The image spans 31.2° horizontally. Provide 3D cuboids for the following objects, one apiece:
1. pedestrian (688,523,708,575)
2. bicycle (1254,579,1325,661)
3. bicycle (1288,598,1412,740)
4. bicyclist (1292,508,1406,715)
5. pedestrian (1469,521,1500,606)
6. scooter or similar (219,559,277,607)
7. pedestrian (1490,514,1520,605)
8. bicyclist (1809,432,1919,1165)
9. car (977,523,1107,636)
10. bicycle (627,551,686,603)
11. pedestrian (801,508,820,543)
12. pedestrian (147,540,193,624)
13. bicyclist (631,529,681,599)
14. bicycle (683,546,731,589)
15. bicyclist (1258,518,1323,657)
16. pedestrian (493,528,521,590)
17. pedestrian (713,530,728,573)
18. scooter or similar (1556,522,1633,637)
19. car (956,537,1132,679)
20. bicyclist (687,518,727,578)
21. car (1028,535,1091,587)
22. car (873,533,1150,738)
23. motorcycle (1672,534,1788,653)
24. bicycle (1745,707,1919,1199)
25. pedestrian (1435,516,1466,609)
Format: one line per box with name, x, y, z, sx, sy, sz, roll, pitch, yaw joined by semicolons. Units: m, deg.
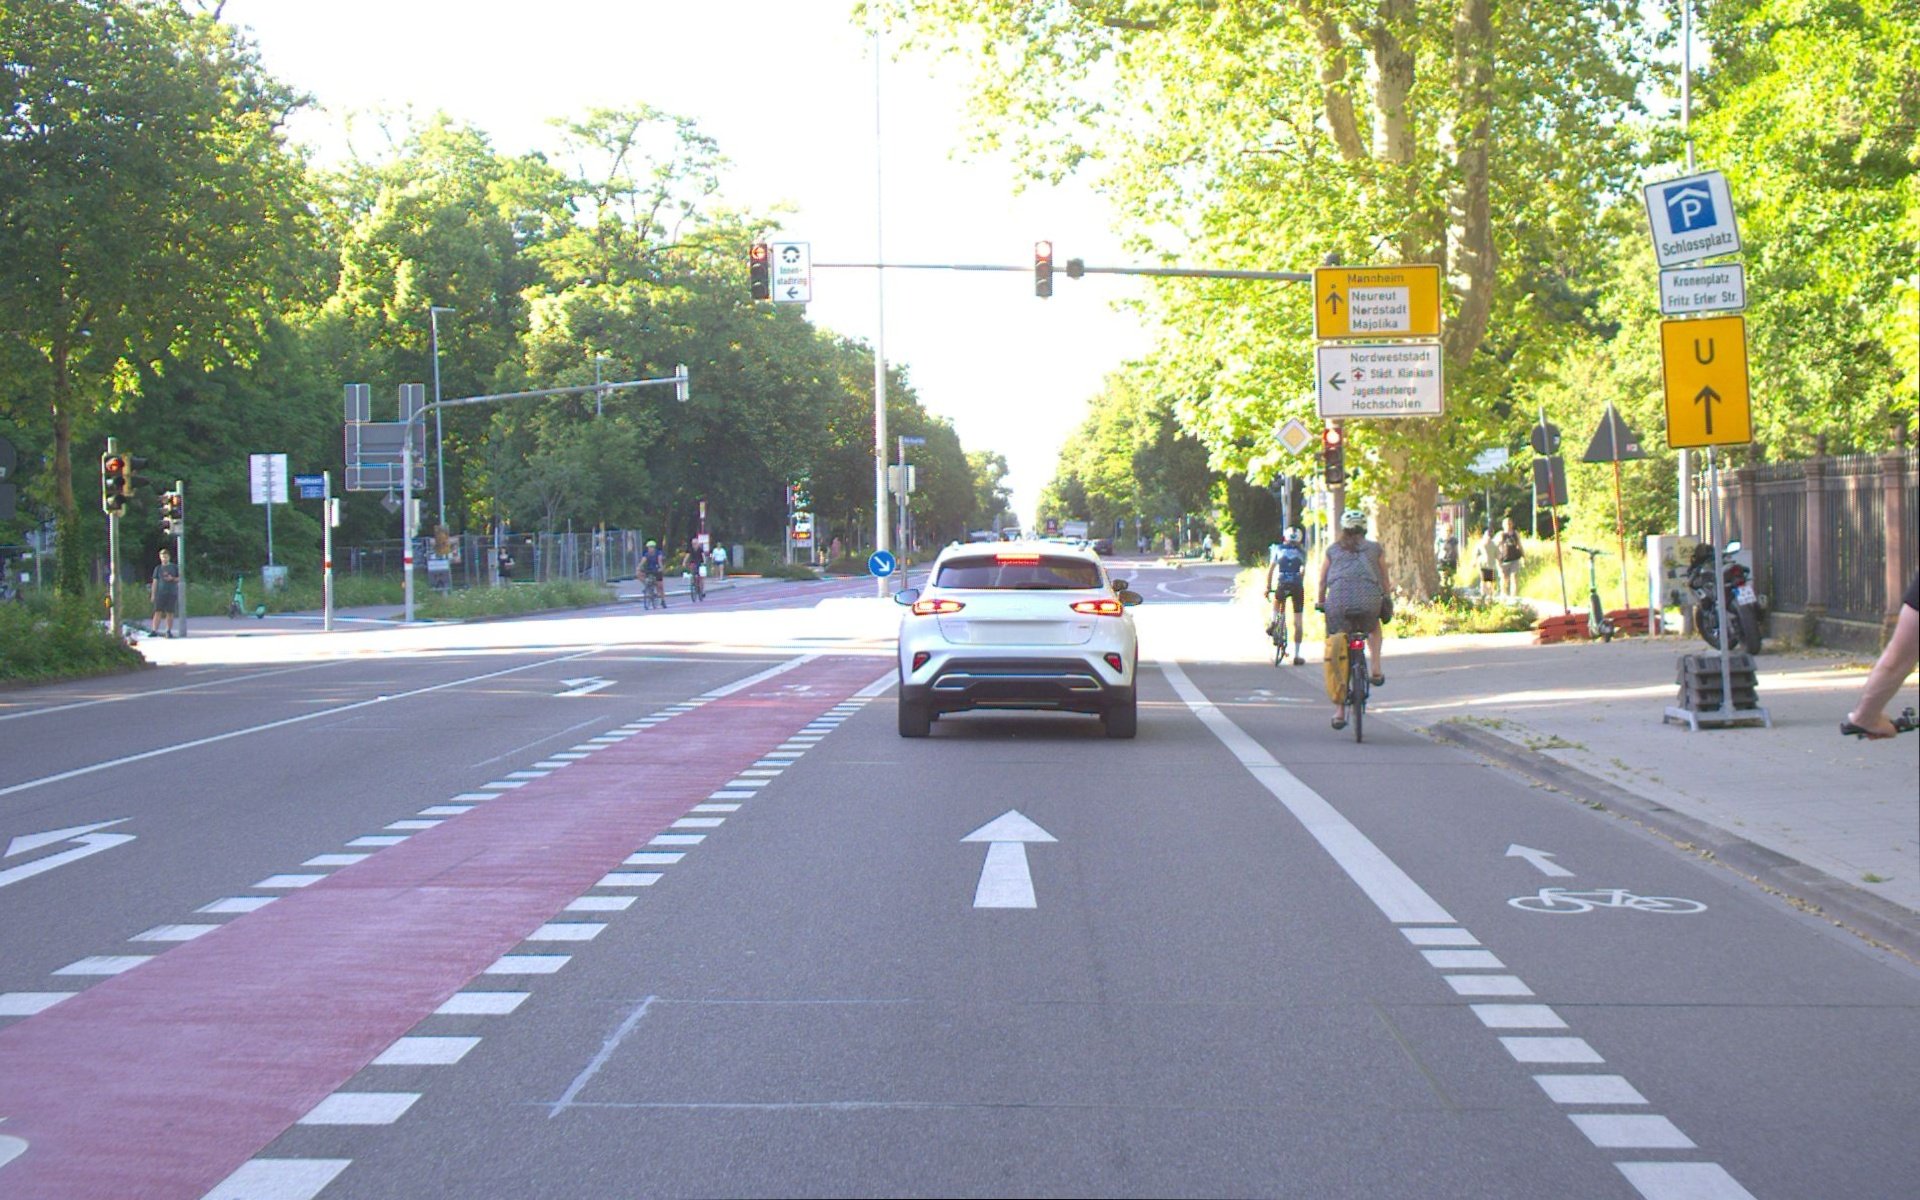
pedestrian;-10.148;-1.988;133.297;0.656;2.007;0.832;-2;1;-1
bicycle;4.190;0.240;43.761;0.753;1.022;1.869;0;0;1
bicycle;2.939;0.501;26.044;0.753;1.022;1.869;0;0;1
bicyclist;2.930;0.074;25.968;0.747;1.532;0.969;-1;1;1
pedestrian;10.451;-0.730;68.529;0.482;1.634;0.432;-4;4;8
scooter or similar;-17.568;-0.424;84.844;0.511;1.140;1.699;-1;1;23
pedestrian;10.946;-0.814;69.055;0.482;1.786;0.432;-4;4;8
bicyclist;2.429;0.428;7.939;0.636;1.609;1.284;0;1;1
car;1.225;-0.338;51.945;1.851;1.586;4.000;-2;1;1
bicycle;-7.815;-0.607;88.623;1.102;1.250;2.779;-2;1;3
pedestrian;-9.410;-4.701;216.538;0.876;2.142;1.103;-2;1;11
pedestrian;-17.393;-0.411;75.728;0.687;1.786;0.769;-4;2;1
bicyclist;-7.831;-0.938;88.679;1.092;1.748;1.097;-2;1;3
bicycle;-7.236;-0.941;98.512;0.964;1.177;2.951;-2;1;3
bicyclist;4.186;-0.168;43.612;0.749;1.744;0.843;0;1;1
pedestrian;-13.928;-1.263;105.716;0.651;1.881;0.662;-2;1;4
pedestrian;-9.551;-1.932;136.983;0.519;1.699;0.528;-2;1;-3
scooter or similar;7.888;-0.267;42.793;0.566;1.378;1.856;-2;1;0
car;0.977;0.050;40.676;1.929;1.528;4.000;-2;1;1
bicyclist;-7.255;-1.496;98.571;0.956;1.699;1.232;-2;1;3
car;3.164;-1.252;108.818;1.737;1.541;4.000;-1;2;5
car;0.411;0.225;27.275;1.993;1.448;4.000;-2;1;1
motorcycle;8.043;-0.093;36.012;0.662;1.163;2.327;-4;1;1
bicycle;2.418;0.822;8.125;0.643;1.021;2.212;0;1;1
pedestrian;9.750;-0.741;68.357;0.482;1.786;0.432;-4;4;8
